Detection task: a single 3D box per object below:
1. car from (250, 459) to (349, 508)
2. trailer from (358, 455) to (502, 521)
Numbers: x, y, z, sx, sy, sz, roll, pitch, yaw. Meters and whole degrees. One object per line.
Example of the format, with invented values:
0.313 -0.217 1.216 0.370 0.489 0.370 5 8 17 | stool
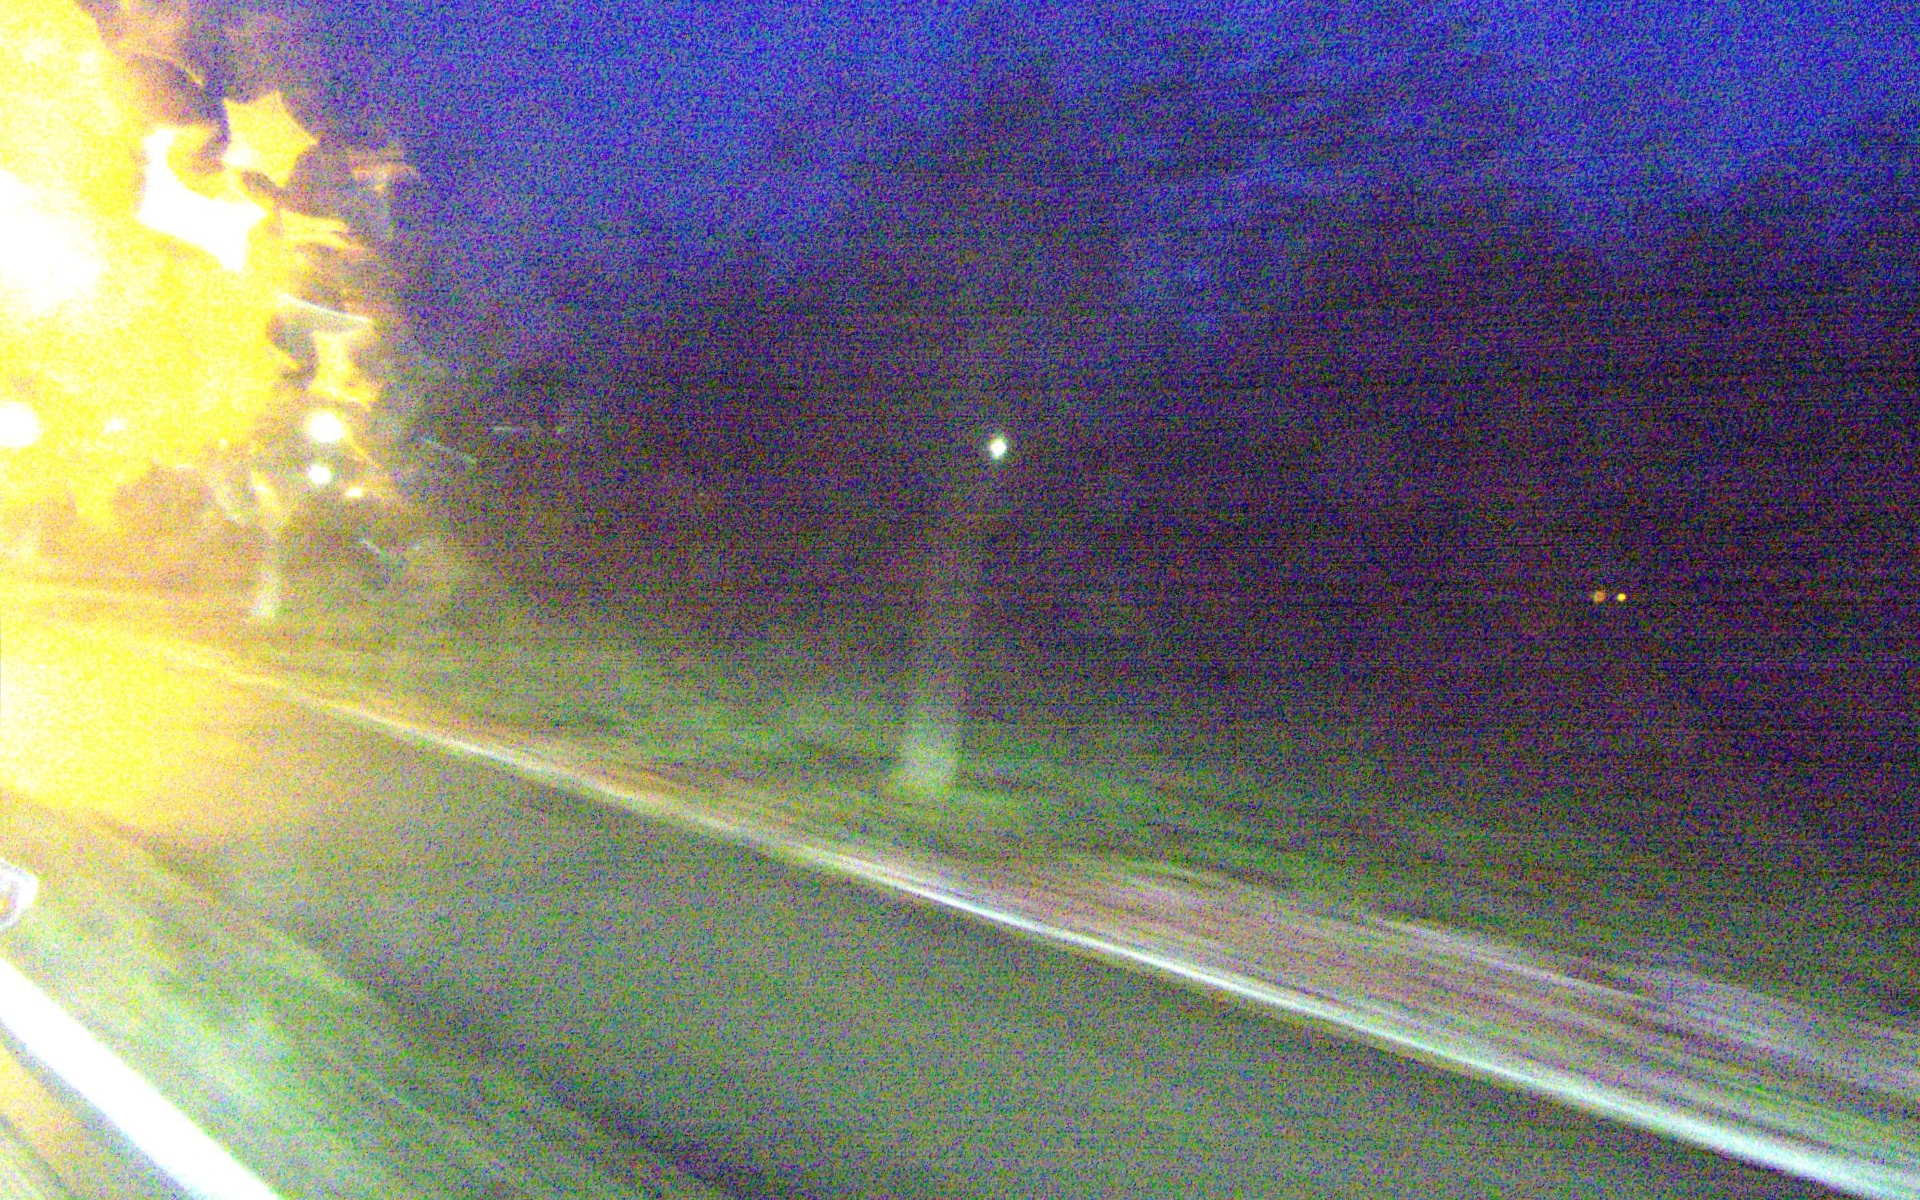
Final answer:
-30.336 -5.353 46.225 3.925 1.659 1.619 7 -1 19 | car
-22.990 -4.857 43.653 5.615 2.096 2.233 7 -1 21 | trailer
